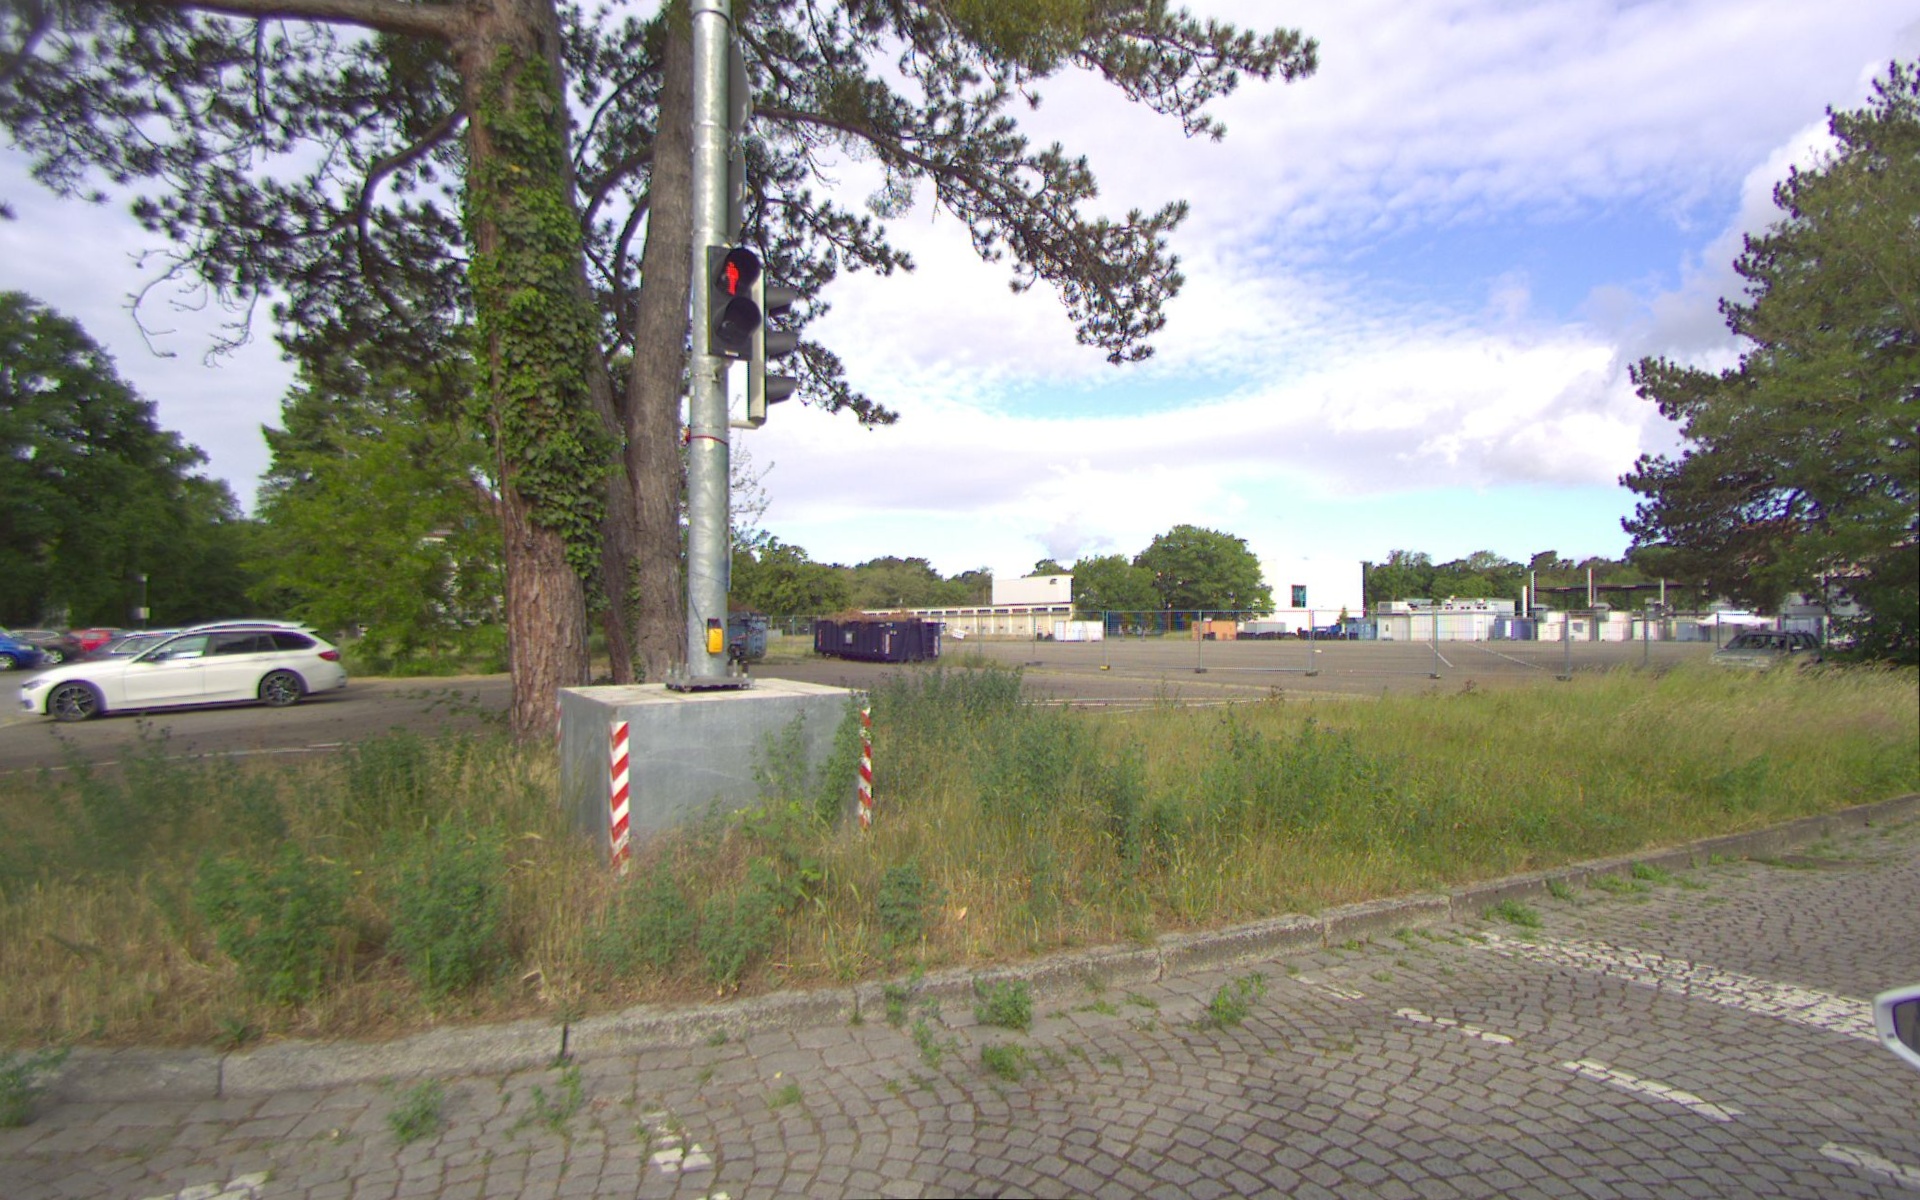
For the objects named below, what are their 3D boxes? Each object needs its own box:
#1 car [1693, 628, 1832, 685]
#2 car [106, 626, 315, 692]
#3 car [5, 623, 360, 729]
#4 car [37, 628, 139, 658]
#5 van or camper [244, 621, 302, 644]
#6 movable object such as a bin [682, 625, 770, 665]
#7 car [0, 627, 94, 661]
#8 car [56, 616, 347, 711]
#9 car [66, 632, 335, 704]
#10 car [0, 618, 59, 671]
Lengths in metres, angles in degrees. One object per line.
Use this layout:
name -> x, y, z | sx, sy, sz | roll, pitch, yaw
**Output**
car -> 22.902, 1.551, 28.630 | 4.323, 1.496, 1.907 | 1, -1, -34
car -> -18.079, 1.379, 24.439 | 3.947, 1.475, 1.664 | 1, -2, -35
car -> -13.577, 1.248, 17.984 | 4.769, 1.459, 1.896 | -2, 0, -33
car -> -47.756, 2.320, 55.145 | 3.958, 1.590, 1.982 | 1, -2, -34
van or camper -> -76.417, 3.636, 111.764 | 5.194, 2.496, 2.190 | 1, -1, -33
movable object such as a bin -> -7.471, 1.417, 32.120 | 2.510, 1.228, 1.161 | 1, -1, -31
car -> -42.725, 2.025, 46.259 | 3.950, 1.524, 1.856 | 1, -2, -28
car -> -14.943, 1.179, 20.119 | 4.442, 1.611, 1.830 | -1, -1, -35
car -> -16.564, 1.428, 22.257 | 4.586, 1.441, 1.868 | 1, -2, -33
car -> -38.170, 1.708, 38.664 | 4.781, 2.040, 1.987 | 1, -2, -27
